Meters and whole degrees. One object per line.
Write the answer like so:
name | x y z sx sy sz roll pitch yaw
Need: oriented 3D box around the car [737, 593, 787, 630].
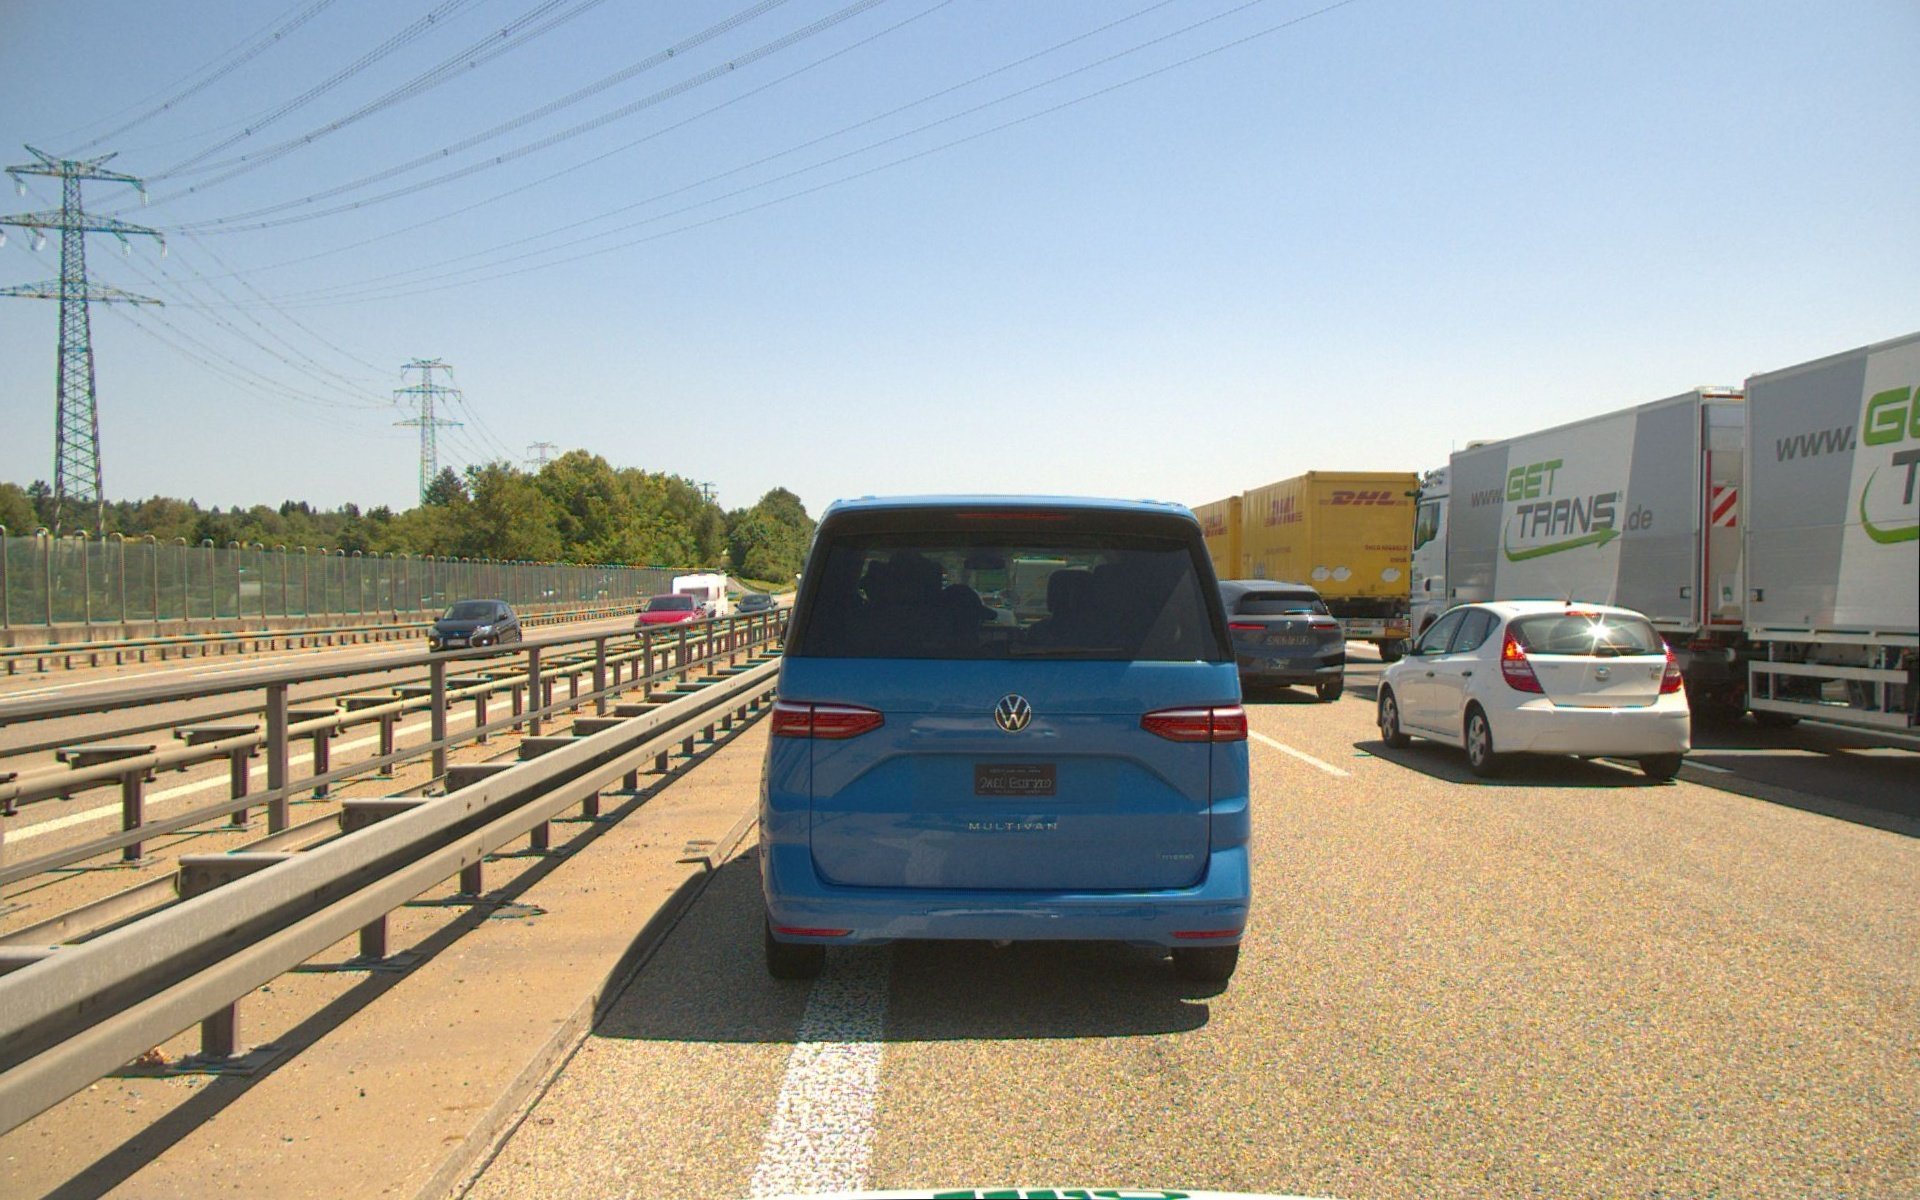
car | -8.624 0.492 72.270 1.634 1.473 4.000 -3 0 0

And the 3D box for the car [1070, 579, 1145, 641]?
car | 4.632 0.295 52.303 1.953 1.847 3.999 0 0 -1

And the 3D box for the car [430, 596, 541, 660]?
car | -12.416 0.696 43.515 1.695 1.517 4.418 -2 0 -1

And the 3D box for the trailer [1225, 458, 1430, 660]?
trailer | 8.663 -0.883 40.237 2.806 4.313 9.009 1 0 -1

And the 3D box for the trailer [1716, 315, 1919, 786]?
trailer | 9.000 -0.389 12.632 2.643 3.765 8.012 0 0 -1

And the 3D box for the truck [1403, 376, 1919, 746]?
truck | 8.817 -0.423 22.136 2.603 3.711 11.008 0 0 -1

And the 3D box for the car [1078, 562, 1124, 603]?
car | 7.184 -0.873 84.736 1.953 2.049 3.999 1 0 -1

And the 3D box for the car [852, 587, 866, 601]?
car | -14.192 -0.887 232.055 1.830 1.729 4.429 -3 2 -2

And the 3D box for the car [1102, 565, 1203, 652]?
car | 4.677 0.180 40.800 1.922 2.028 4.292 0 0 -1

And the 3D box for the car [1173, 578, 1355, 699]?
car | 4.499 0.528 25.106 1.922 1.673 4.292 0 0 -1

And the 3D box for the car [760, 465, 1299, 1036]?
car | 0.212 0.506 7.600 1.783 1.890 4.074 1 0 -1

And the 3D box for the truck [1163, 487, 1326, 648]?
truck | 8.369 -0.885 50.244 2.778 4.317 11.007 1 0 -1

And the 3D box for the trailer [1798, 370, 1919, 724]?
trailer | 12.715 -0.594 15.351 2.484 4.191 13.768 1 0 -2

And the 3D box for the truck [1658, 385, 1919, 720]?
truck | 12.444 -0.599 23.562 2.465 4.191 5.714 0 0 -2

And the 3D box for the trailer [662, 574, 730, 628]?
trailer | -13.542 0.037 85.232 2.442 2.593 6.773 -2 0 -1

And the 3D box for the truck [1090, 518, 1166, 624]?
truck | 7.567 -1.245 75.342 2.613 4.562 6.848 1 0 -1

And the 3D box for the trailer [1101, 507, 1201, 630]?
trailer | 7.679 -1.232 68.088 2.583 4.595 11.299 1 0 -1

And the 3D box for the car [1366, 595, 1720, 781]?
car | 5.225 0.703 15.469 1.752 1.481 4.292 0 0 -1

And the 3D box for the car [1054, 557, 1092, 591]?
car | 6.973 -1.596 102.270 1.953 2.049 4.460 0 0 -1

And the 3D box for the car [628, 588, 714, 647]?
car | -8.472 0.480 48.787 1.755 1.503 3.988 -4 1 -1

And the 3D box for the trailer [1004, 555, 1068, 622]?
trailer | 3.639 -0.532 81.705 2.517 3.042 10.661 1 0 -1
